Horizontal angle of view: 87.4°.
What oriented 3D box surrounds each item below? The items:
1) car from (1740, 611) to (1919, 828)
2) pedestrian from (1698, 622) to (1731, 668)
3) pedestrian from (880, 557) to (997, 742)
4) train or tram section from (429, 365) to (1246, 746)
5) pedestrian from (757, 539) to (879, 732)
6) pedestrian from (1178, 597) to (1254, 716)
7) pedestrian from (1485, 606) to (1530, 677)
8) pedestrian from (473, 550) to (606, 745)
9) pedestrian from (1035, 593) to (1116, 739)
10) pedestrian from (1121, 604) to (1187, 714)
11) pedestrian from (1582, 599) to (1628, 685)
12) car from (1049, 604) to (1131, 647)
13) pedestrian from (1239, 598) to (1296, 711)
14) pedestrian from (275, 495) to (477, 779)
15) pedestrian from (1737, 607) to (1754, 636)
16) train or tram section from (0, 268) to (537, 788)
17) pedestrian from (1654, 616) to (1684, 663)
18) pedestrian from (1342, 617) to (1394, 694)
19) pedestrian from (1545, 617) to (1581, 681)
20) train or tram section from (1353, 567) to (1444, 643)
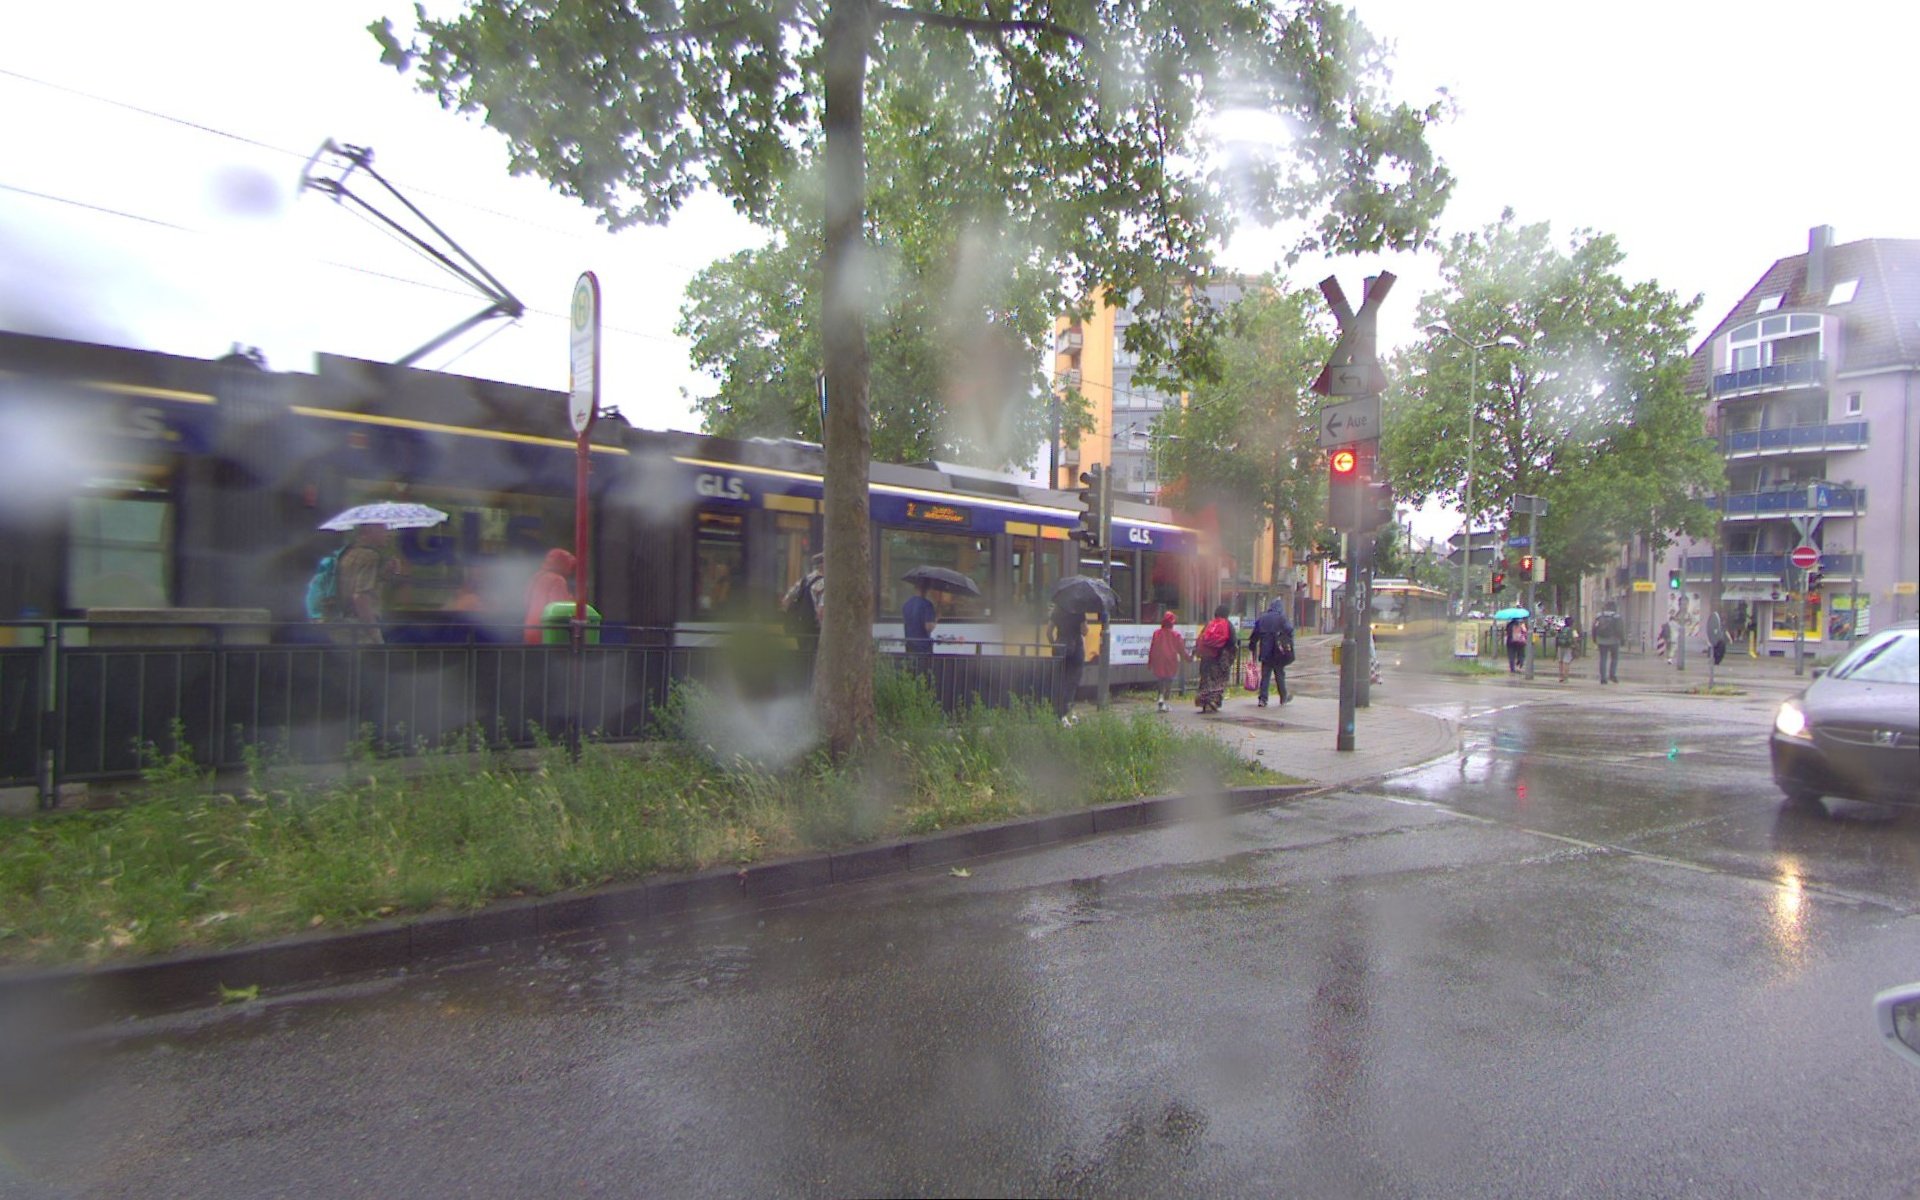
[{"bbox_3d":[8.161,0.891,8.112,3.705,1.479,1.705,2,0,-31],"label":"car"},{"bbox_3d":[26.654,1.579,35.497,0.785,1.553,0.743,2,0,-41],"label":"pedestrian"},{"bbox_3d":[-0.233,0.501,10.865,0.885,1.889,0.861,1,1,-41],"label":"pedestrian"},{"bbox_3d":[-0.296,-0.318,15.382,2.830,3.593,13.632,2,0,44],"label":"train or tram section"},{"bbox_3d":[-1.392,0.325,9.820,0.824,1.778,0.857,1,1,-41],"label":"pedestrian"},{"bbox_3d":[3.699,0.787,14.514,0.809,1.646,0.724,0,0,-37],"label":"pedestrian"},{"bbox_3d":[14.197,1.061,26.035,0.943,1.789,0.951,2,0,31],"label":"pedestrian"},{"bbox_3d":[-3.618,0.395,8.663,0.783,1.593,0.659,-2,0,24],"label":"pedestrian"},{"bbox_3d":[1.408,0.776,12.185,0.783,1.705,0.659,-2,0,23],"label":"pedestrian"},{"bbox_3d":[2.822,0.834,14.625,0.654,1.540,0.675,1,0,-42],"label":"pedestrian"},{"bbox_3d":[14.572,0.929,22.687,0.777,1.880,0.679,2,1,37],"label":"pedestrian"},{"bbox_3d":[5.099,0.973,39.864,1.585,1.551,4.017,1,1,-19],"label":"car"},{"bbox_3d":[4.822,0.835,15.772,0.823,1.722,0.689,-1,0,17],"label":"pedestrian"},{"bbox_3d":[-4.228,0.244,7.268,1.068,1.851,0.974,-2,0,-41],"label":"pedestrian"},{"bbox_3d":[36.991,1.032,47.287,0.442,1.347,0.554,2,0,-45],"label":"pedestrian"},{"bbox_3d":[-10.592,-0.602,5.349,15.254,3.593,2.835,2,0,-41],"label":"train or tram section"},{"bbox_3d":[24.857,1.377,35.207,0.666,1.622,0.962,2,0,45],"label":"pedestrian"},{"bbox_3d":[7.574,1.018,18.640,0.704,1.367,0.650,1,1,-44],"label":"pedestrian"},{"bbox_3d":[13.764,1.105,22.922,0.640,1.414,0.780,1,0,35],"label":"pedestrian"},{"bbox_3d":[25.943,0.374,58.745,2.839,3.818,17.211,2,0,30],"label":"train or tram section"}]
